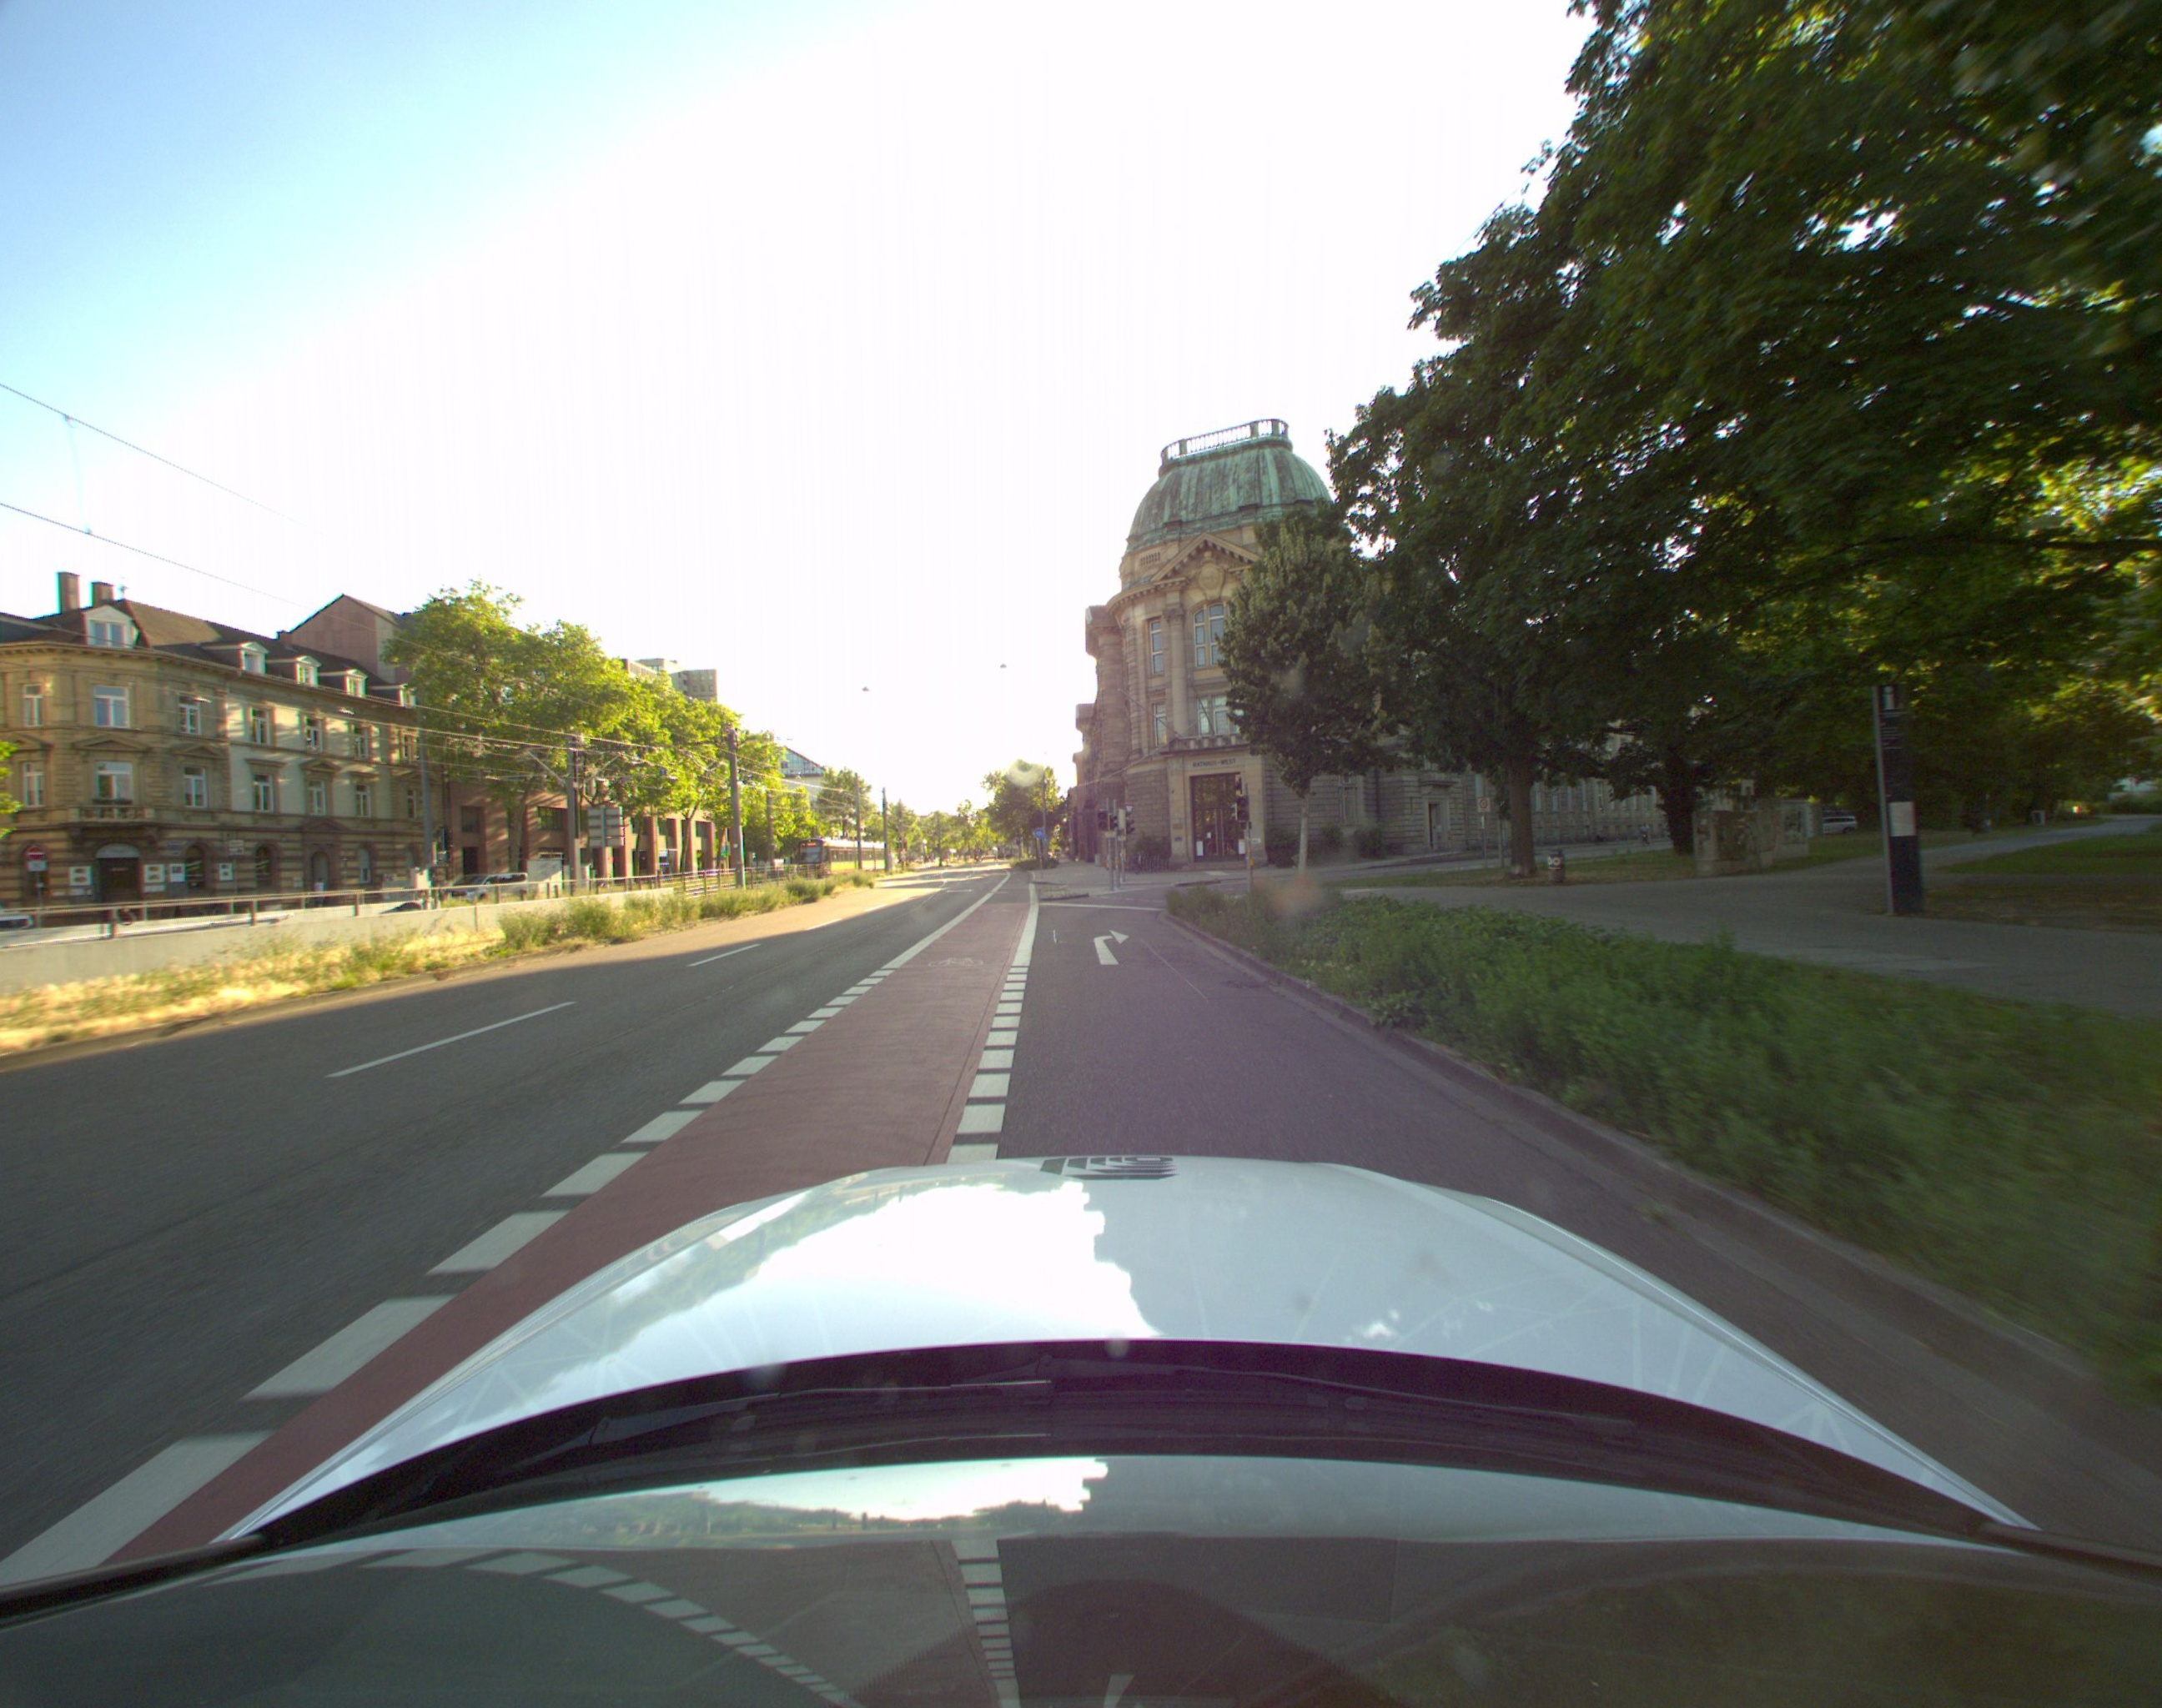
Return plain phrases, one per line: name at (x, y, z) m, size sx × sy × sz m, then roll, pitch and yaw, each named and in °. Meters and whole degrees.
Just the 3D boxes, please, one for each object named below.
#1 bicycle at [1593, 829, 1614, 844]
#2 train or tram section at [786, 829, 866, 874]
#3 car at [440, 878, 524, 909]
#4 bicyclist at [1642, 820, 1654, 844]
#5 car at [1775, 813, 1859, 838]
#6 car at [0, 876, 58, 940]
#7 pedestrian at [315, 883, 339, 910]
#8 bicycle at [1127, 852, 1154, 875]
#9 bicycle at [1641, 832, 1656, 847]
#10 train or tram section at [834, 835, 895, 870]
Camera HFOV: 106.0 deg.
bicycle at (43.030, -1.444, 67.048) m, size 1.991 × 1.101 × 0.846 m, roll -3°, pitch 2°, yaw -36°
train or tram section at (-23.606, -0.183, 76.815) m, size 3.106 × 3.559 × 17.451 m, roll -3°, pitch 0°, yaw -4°
car at (-37.294, 2.434, 50.865) m, size 1.755 × 1.585 × 4.732 m, roll -3°, pitch 0°, yaw -2°
bicyclist at (43.533, -1.663, 62.510) m, size 0.639 × 1.807 × 0.785 m, roll -3°, pitch -1°, yaw 30°
car at (54.969, -2.122, 60.887) m, size 1.792 × 1.469 × 4.402 m, roll -3°, pitch -1°, yaw -40°
car at (-42.651, 2.165, 29.452) m, size 7.262 × 2.266 × 2.464 m, roll -3°, pitch 0°, yaw -8°
pedestrian at (-45.259, 2.547, 48.889) m, size 0.703 × 1.562 × 0.690 m, roll -3°, pitch 0°, yaw -5°
bicycle at (3.407, 0.549, 46.619) m, size 0.859 × 1.196 × 2.251 m, roll -3°, pitch 0°, yaw 21°
bicycle at (43.624, -1.123, 62.602) m, size 0.656 × 1.070 × 2.167 m, roll -3°, pitch 0°, yaw 30°
train or tram section at (-24.952, -0.110, 95.466) m, size 3.106 × 3.559 × 19.901 m, roll -3°, pitch 0°, yaw -4°
